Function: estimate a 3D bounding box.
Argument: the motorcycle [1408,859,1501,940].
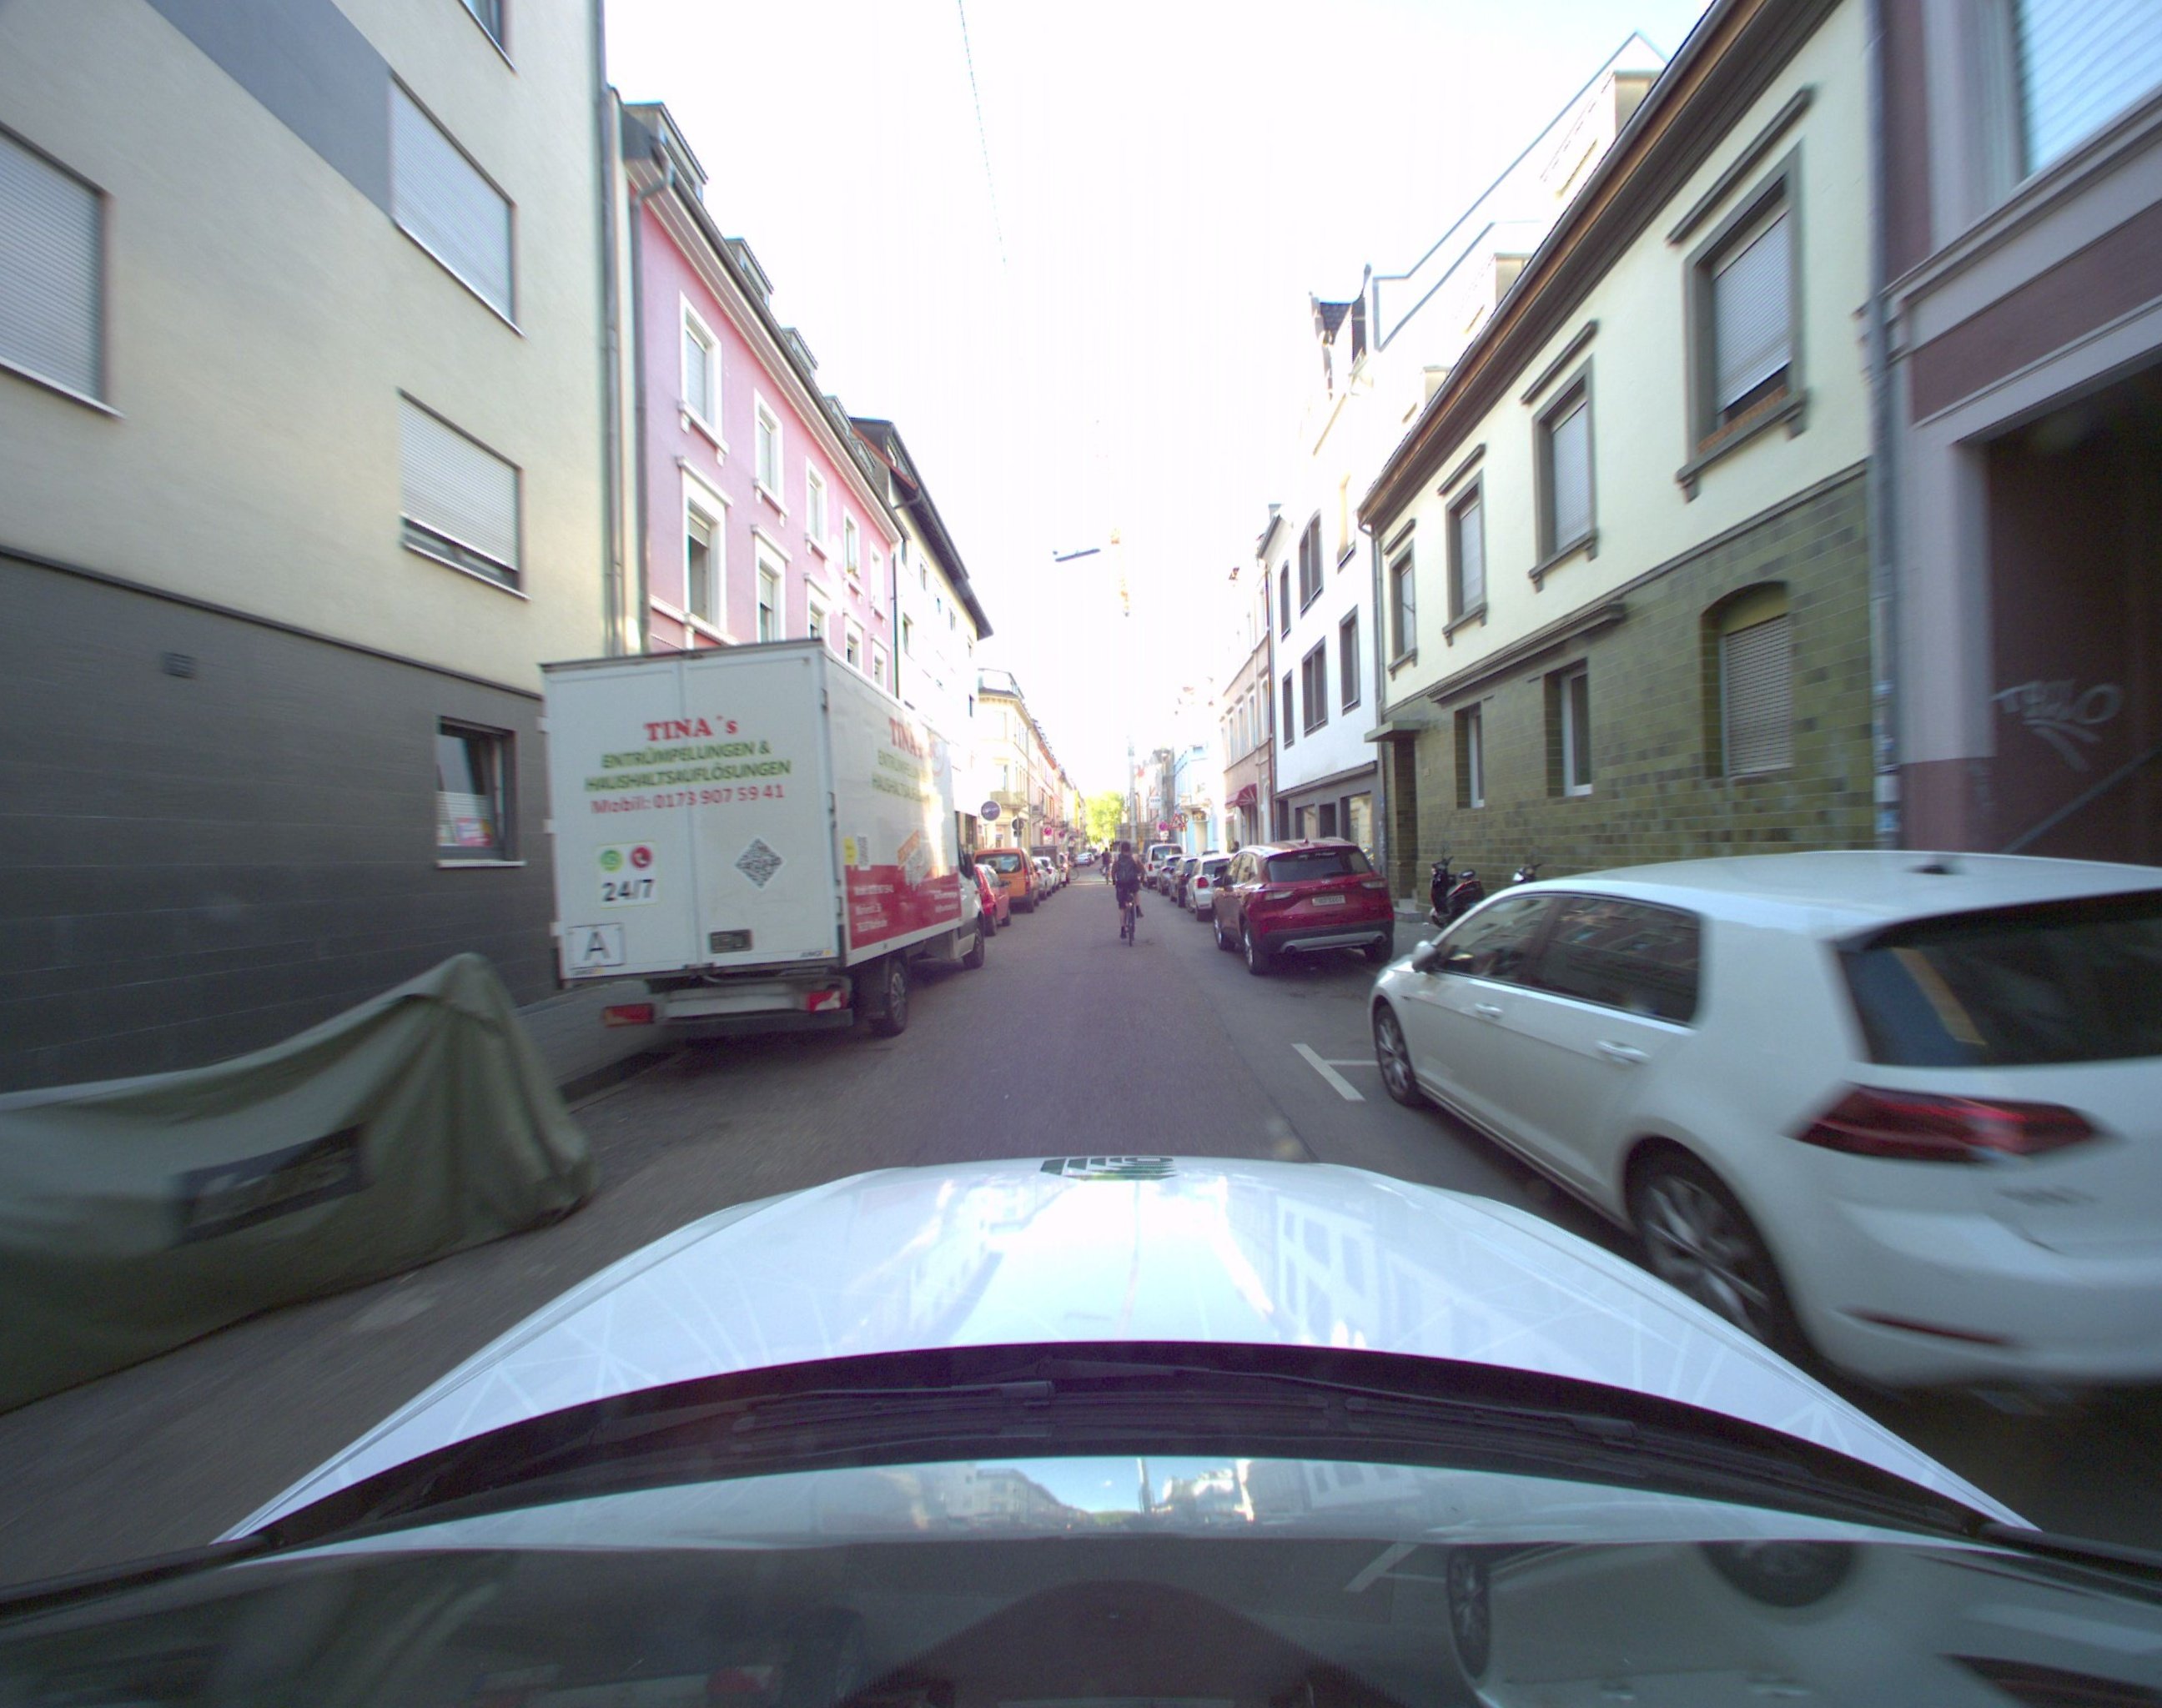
[{"bbox_3d":[5.568,0.640,12.258,0.499,1.095,1.879,-4,-1,1],"label":"motorcycle"}]

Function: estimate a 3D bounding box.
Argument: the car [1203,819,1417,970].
[{"bbox_3d":[3.011,0.470,11.729,1.911,1.706,4.367,-2,0,1],"label":"car"}]

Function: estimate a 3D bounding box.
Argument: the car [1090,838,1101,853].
[{"bbox_3d":[2.530,-1.413,139.388,1.744,2.318,3.797,-2,-1,1],"label":"car"}]

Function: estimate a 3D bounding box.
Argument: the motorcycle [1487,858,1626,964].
[{"bbox_3d":[5.511,0.612,9.568,0.556,1.095,1.776,-4,-1,1],"label":"motorcycle"}]

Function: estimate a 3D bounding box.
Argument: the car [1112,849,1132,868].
[{"bbox_3d":[3.450,0.371,69.177,1.605,1.560,3.611,0,0,1],"label":"car"}]

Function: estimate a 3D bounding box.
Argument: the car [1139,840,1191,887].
[{"bbox_3d":[3.603,0.411,35.442,1.745,1.879,3.971,-2,-1,-1],"label":"car"}]

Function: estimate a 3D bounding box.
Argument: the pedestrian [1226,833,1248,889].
[{"bbox_3d":[5.679,0.258,29.708,0.642,2.014,0.764,0,-1,1],"label":"pedestrian"}]

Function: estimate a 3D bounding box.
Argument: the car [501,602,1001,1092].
[{"bbox_3d":[-2.675,-0.028,9.269,2.334,3.291,7.158,-3,-1,2],"label":"car"}]

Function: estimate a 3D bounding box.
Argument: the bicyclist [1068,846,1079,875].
[{"bbox_3d":[-0.437,0.377,47.594,0.679,1.706,0.381,0,-1,-1],"label":"bicyclist"}]

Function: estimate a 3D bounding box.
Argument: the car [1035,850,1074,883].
[{"bbox_3d":[-1.355,0.655,43.070,1.744,1.573,3.797,-2,0,1],"label":"car"}]

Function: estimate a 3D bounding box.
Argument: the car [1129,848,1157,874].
[{"bbox_3d":[4.002,0.439,52.757,1.605,1.633,3.611,0,0,1],"label":"car"}]

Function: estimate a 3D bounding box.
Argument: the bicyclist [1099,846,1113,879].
[{"bbox_3d":[1.203,0.402,39.219,0.668,1.567,0.716,0,-1,1],"label":"bicyclist"}]

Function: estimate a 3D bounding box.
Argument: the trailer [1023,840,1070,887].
[{"bbox_3d":[-1.601,0.441,38.760,1.875,2.092,3.738,-2,-1,1],"label":"trailer"}]

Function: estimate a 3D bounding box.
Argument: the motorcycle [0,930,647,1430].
[{"bbox_3d":[-3.010,1.052,3.188,0.782,1.253,2.120,-4,0,43],"label":"motorcycle"}]

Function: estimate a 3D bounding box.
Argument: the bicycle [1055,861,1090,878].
[{"bbox_3d":[-0.496,0.922,47.566,1.990,0.958,0.478,0,-1,-2],"label":"bicycle"}]

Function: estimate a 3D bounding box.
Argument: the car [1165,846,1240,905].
[{"bbox_3d":[3.526,0.605,24.334,1.640,1.475,3.972,-5,-1,2],"label":"car"}]

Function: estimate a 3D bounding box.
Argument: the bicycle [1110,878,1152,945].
[{"bbox_3d":[0.871,0.993,14.611,0.674,1.074,1.942,0,0,1],"label":"bicycle"}]

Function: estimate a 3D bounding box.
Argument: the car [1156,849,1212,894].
[{"bbox_3d":[3.774,0.616,30.371,1.743,1.487,3.803,-2,0,3],"label":"car"}]

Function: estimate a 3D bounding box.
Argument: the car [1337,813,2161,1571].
[{"bbox_3d":[2.653,0.699,3.738,1.680,1.543,4.047,-3,0,1],"label":"car"}]

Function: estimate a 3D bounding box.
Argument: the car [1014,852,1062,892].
[{"bbox_3d":[-1.763,0.725,34.134,1.647,1.537,3.635,-2,0,1],"label":"car"}]

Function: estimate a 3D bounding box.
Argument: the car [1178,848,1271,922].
[{"bbox_3d":[3.387,0.696,19.876,1.660,1.505,3.819,-4,-1,3],"label":"car"}]

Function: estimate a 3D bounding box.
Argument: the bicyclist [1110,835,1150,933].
[{"bbox_3d":[0.856,0.513,14.549,0.665,1.676,1.097,0,-1,1],"label":"bicyclist"}]

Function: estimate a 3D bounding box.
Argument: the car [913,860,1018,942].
[{"bbox_3d":[-2.397,0.923,17.698,1.572,1.483,3.566,-4,-1,1],"label":"car"}]

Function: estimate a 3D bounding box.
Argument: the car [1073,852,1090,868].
[{"bbox_3d":[0.128,0.668,92.075,1.744,1.683,3.797,-2,0,1],"label":"car"}]

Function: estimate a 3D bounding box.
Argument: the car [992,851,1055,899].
[{"bbox_3d":[-1.975,0.710,29.109,1.744,1.537,4.320,-2,0,1],"label":"car"}]

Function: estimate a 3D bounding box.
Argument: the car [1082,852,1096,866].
[{"bbox_3d":[1.125,0.674,109.447,1.744,1.821,3.797,-2,-1,1],"label":"car"}]

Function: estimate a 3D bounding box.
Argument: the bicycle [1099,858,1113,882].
[{"bbox_3d":[1.217,0.742,39.253,0.646,1.129,2.136,0,0,2],"label":"bicycle"}]

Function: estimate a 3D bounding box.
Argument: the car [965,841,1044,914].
[{"bbox_3d":[-2.110,0.637,23.526,1.746,1.816,4.079,-3,-1,1],"label":"car"}]

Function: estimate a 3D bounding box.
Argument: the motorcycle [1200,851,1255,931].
[{"bbox_3d":[2.912,0.692,16.391,0.744,1.490,2.423,0,0,2],"label":"motorcycle"}]
